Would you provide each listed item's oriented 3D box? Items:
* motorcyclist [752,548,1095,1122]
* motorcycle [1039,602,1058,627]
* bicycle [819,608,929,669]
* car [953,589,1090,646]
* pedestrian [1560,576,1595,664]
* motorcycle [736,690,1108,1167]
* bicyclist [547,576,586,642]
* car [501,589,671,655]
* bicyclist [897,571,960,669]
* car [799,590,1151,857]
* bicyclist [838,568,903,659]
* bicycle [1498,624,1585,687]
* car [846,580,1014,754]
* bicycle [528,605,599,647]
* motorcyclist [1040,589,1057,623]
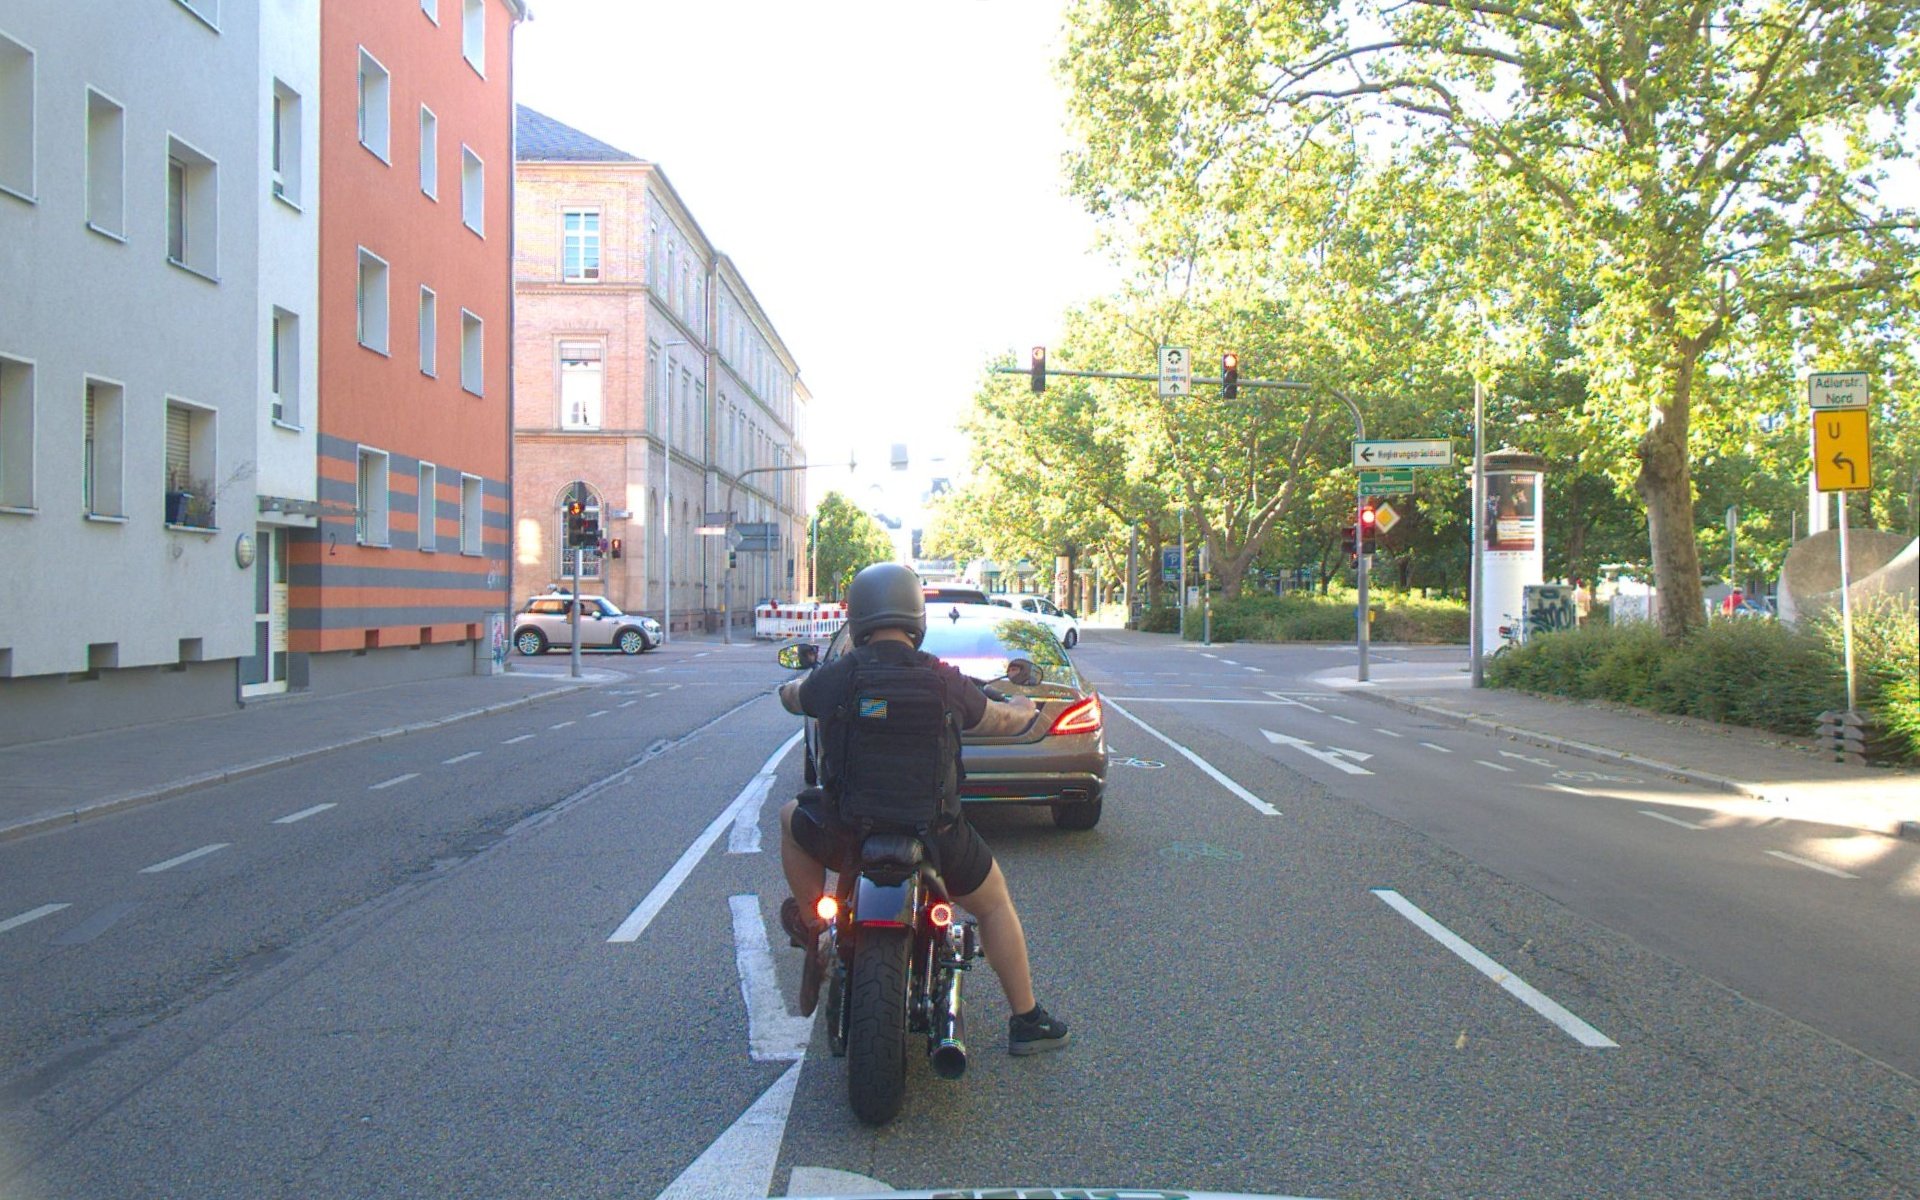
[{"bbox_3d":[-0.111,0.662,5.396,0.969,1.625,1.403,0,0,-1],"label":"motorcyclist"},{"bbox_3d":[4.607,0.758,86.001,0.821,1.267,2.283,0,0,-1],"label":"motorcycle"},{"bbox_3d":[-1.675,0.741,31.904,2.118,1.123,0.703,-1,-1,34],"label":"bicycle"},{"bbox_3d":[1.731,0.485,45.663,1.826,1.512,3.889,1,0,39],"label":"car"},{"bbox_3d":[13.215,0.421,35.413,0.540,1.881,0.593,0,0,0],"label":"pedestrian"},{"bbox_3d":[-0.116,0.925,5.550,0.969,1.097,2.451,0,0,-1],"label":"motorcycle"},{"bbox_3d":[-10.662,0.239,44.832,0.956,1.773,0.609,0,0,-6],"label":"bicyclist"},{"bbox_3d":[-9.090,0.527,40.460,3.820,1.506,1.825,-1,0,-6],"label":"car"},{"bbox_3d":[-0.564,0.347,29.572,0.699,1.722,0.951,0,0,-40],"label":"bicyclist"},{"bbox_3d":[-0.111,0.684,11.590,1.909,1.498,4.355,0,0,-7],"label":"car"},{"bbox_3d":[-1.728,0.259,31.943,1.026,1.724,0.703,-1,-1,34],"label":"bicyclist"},{"bbox_3d":[9.725,0.921,27.673,1.324,1.041,0.363,0,0,0],"label":"bicycle"},{"bbox_3d":[-0.334,0.619,17.753,1.580,1.636,4.327,0,0,-2],"label":"car"},{"bbox_3d":[-10.742,0.708,44.833,1.798,1.124,0.611,0,0,-6],"label":"bicycle"},{"bbox_3d":[4.604,0.316,86.047,0.821,1.732,1.180,0,0,-1],"label":"motorcyclist"}]
